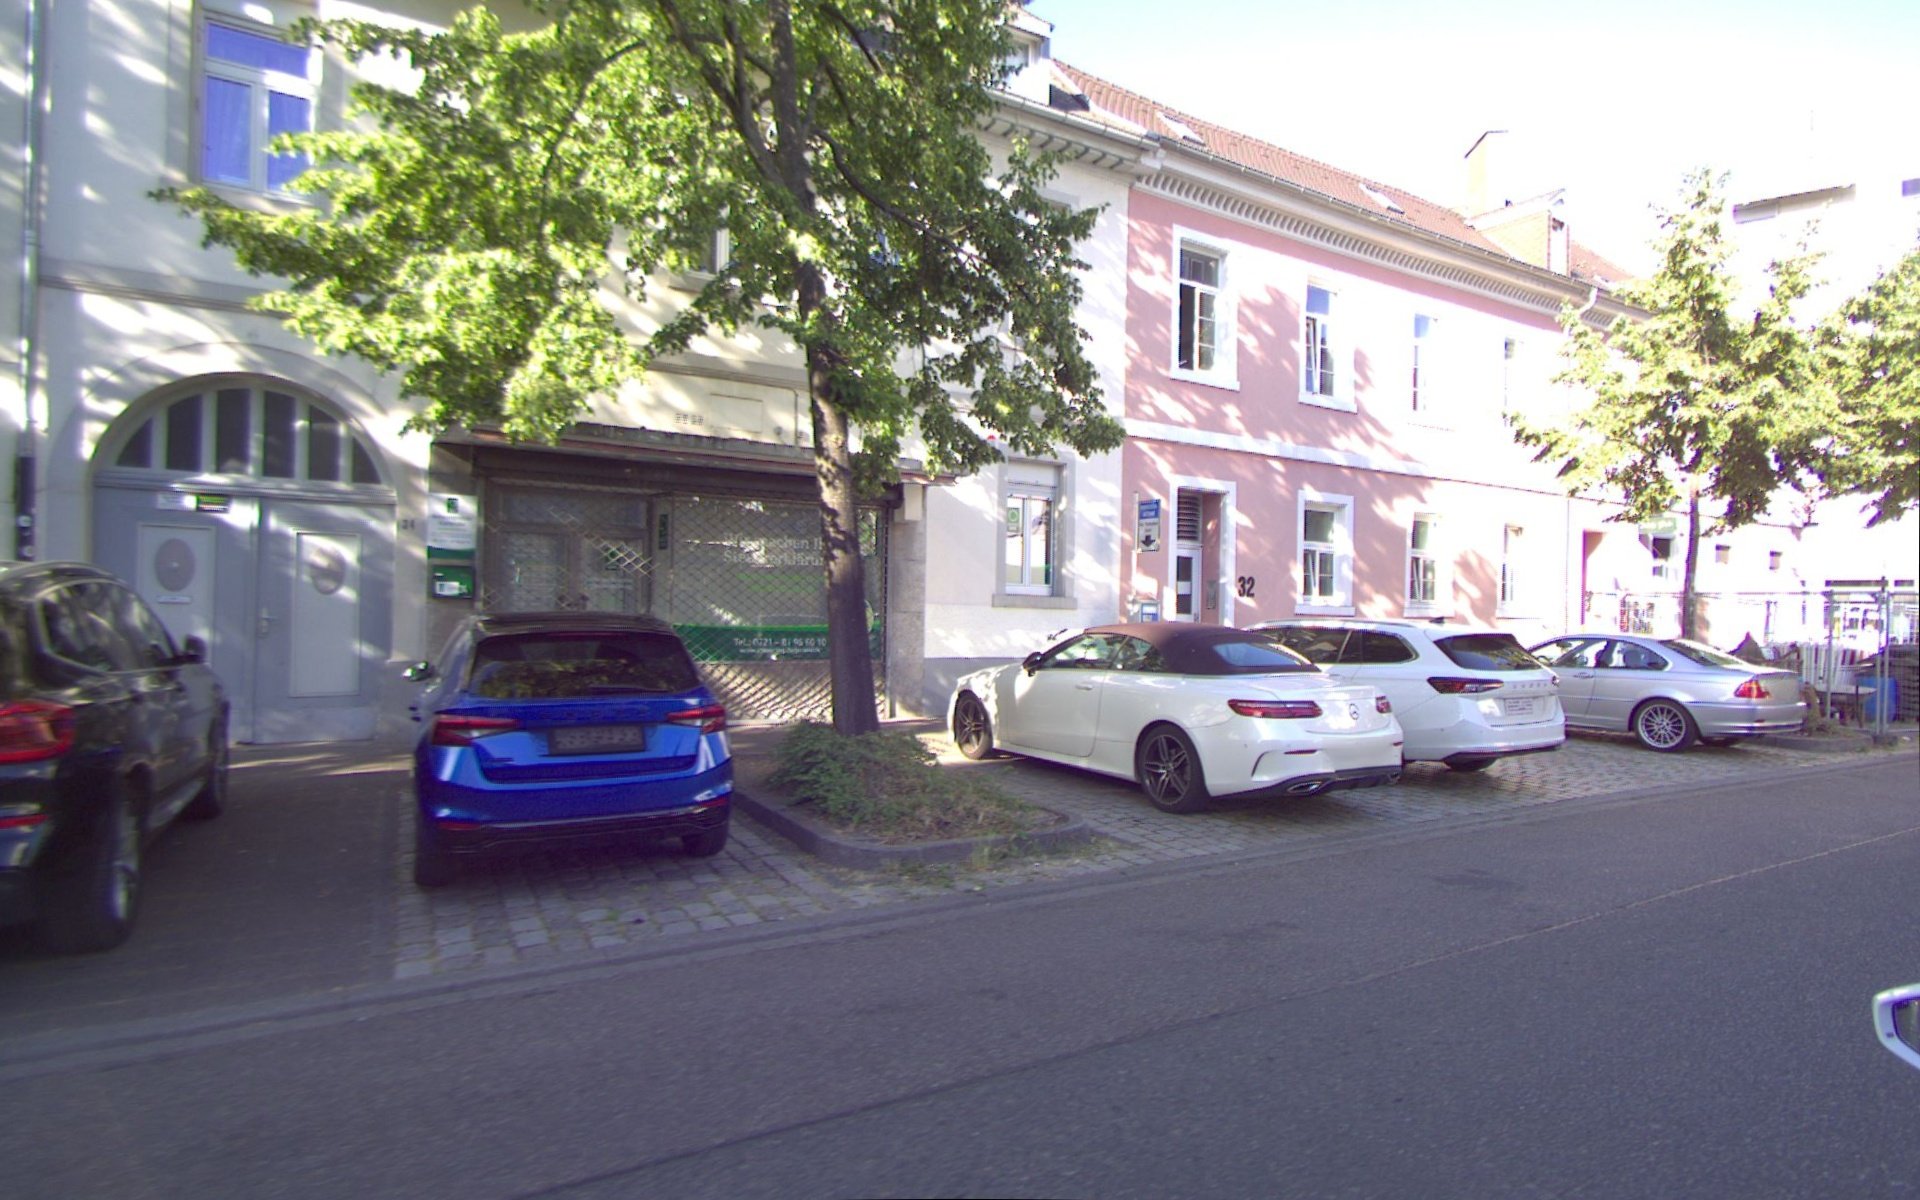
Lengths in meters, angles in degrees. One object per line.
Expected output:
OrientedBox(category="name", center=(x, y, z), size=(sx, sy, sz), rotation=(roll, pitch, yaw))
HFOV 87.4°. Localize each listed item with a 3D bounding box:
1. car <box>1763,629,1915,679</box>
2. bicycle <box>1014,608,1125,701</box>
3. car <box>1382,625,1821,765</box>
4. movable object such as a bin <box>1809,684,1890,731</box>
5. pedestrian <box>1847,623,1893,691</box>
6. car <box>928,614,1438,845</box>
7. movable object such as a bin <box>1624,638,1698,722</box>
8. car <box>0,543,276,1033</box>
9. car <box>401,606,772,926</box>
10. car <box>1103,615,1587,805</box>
OrientedBox(category="car", center=(30.808, 1.862, 35.384), size=(3.939, 1.632, 1.991), rotation=(-1, -2, 39))
OrientedBox(category="bicycle", center=(1.570, 0.763, 14.326), size=(1.610, 1.261, 0.501), rotation=(1, -2, -31))
OrientedBox(category="car", center=(8.278, 1.113, 13.468), size=(1.788, 1.431, 4.654), rotation=(2, -1, -32))
OrientedBox(category="movable object such as a bin", center=(13.532, 1.625, 15.285), size=(1.065, 0.624, 0.624), rotation=(1, -2, -31))
OrientedBox(category="pedestrian", center=(22.787, 1.407, 25.165), size=(0.803, 1.675, 0.608), rotation=(1, -1, -27))
OrientedBox(category="car", center=(1.662, 0.913, 9.175), size=(1.788, 1.484, 4.654), rotation=(2, -1, -32))
OrientedBox(category="movable object such as a bin", center=(10.418, 1.166, 14.933), size=(0.739, 1.202, 0.725), rotation=(2, -2, -39))
OrientedBox(category="car", center=(-4.998, 0.645, 5.267), size=(1.786, 1.716, 4.661), rotation=(1, -1, -28))
OrientedBox(category="car", center=(-2.936, 0.819, 7.236), size=(1.786, 1.483, 4.661), rotation=(1, -1, -28))
OrientedBox(category="car", center=(3.733, 0.947, 10.658), size=(1.788, 1.484, 4.654), rotation=(2, -1, -32))
